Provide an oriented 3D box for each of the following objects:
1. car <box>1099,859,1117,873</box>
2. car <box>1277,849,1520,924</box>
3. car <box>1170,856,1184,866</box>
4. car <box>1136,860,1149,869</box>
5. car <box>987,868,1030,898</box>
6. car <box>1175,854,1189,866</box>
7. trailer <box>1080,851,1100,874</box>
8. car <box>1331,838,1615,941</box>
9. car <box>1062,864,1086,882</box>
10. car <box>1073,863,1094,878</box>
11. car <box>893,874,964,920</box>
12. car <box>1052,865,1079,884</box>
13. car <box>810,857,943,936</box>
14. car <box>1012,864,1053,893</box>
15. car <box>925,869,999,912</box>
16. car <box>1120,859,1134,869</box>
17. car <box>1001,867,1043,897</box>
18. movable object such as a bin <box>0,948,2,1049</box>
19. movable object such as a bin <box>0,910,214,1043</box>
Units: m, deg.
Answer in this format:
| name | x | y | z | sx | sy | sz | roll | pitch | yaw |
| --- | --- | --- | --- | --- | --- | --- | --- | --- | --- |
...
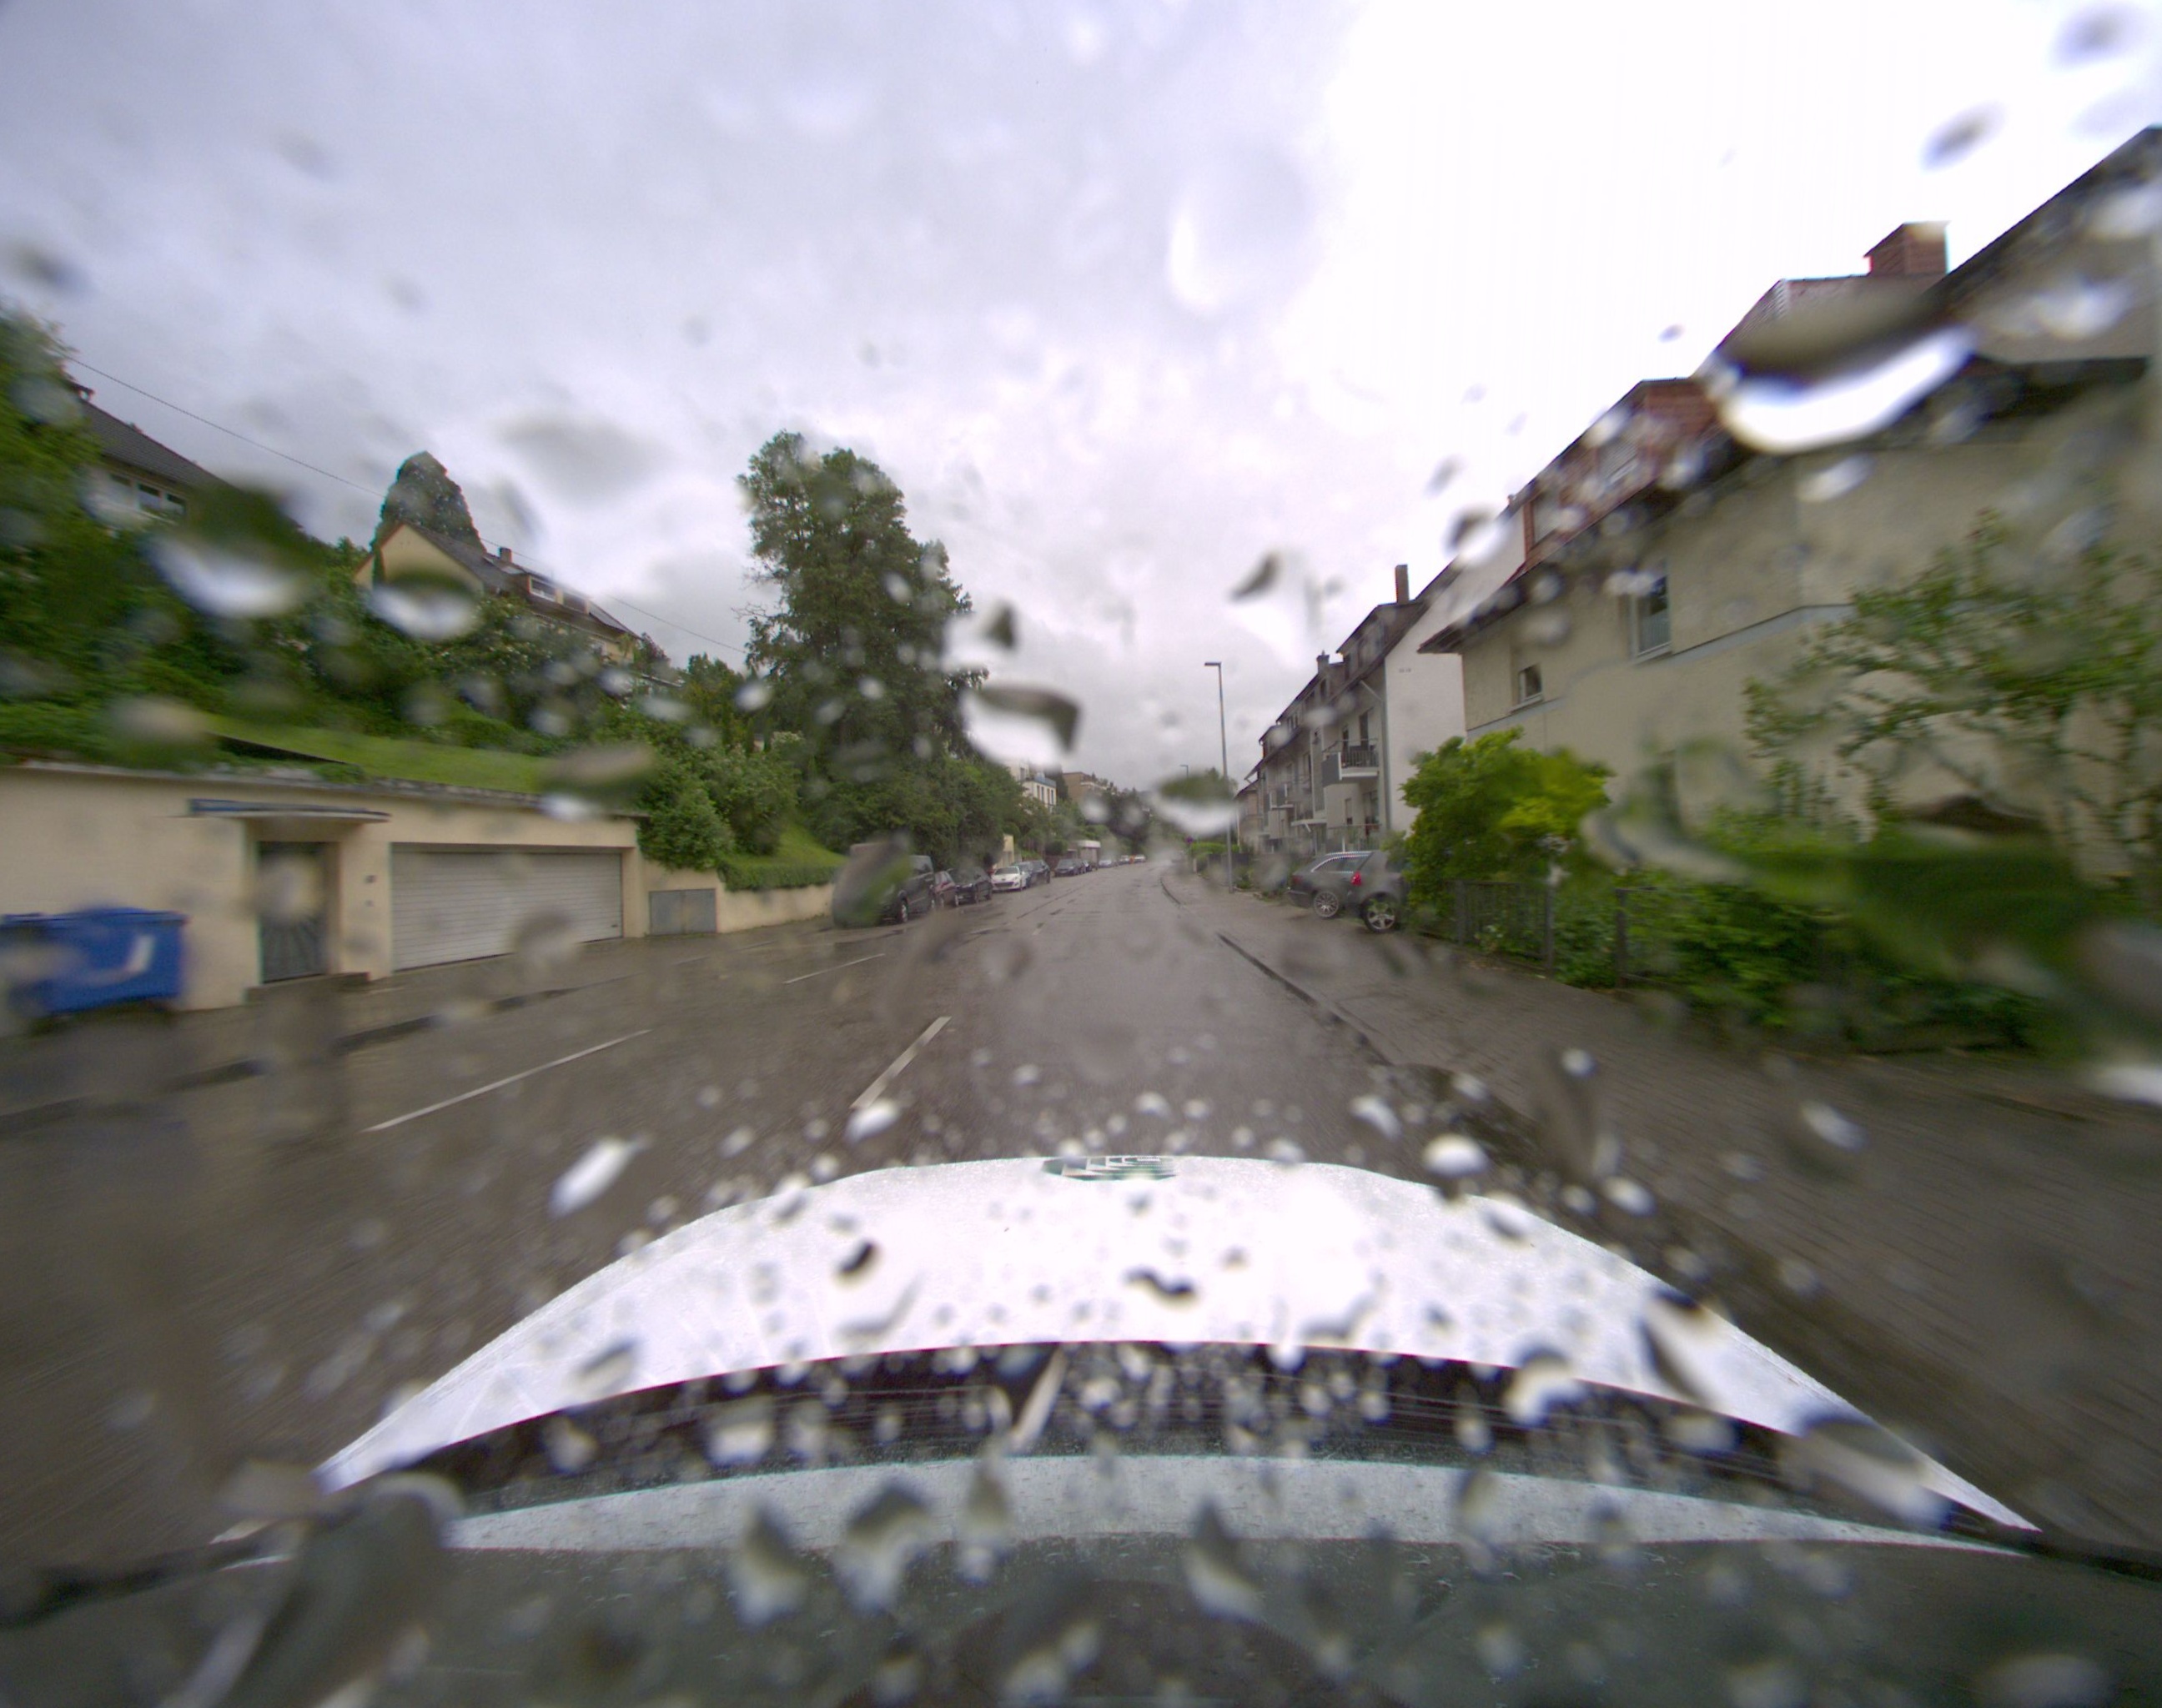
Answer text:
| name | x | y | z | sx | sy | sz | roll | pitch | yaw |
| --- | --- | --- | --- | --- | --- | --- | --- | --- | --- |
| car | 3.546 | 1.526 | 105.980 | 1.746 | 1.539 | 3.765 | -6 | 0 | 8 |
| car | 6.571 | 0.696 | 17.061 | 4.325 | 1.364 | 1.932 | -3 | -2 | 36 |
| car | 15.154 | 1.072 | 128.110 | 1.777 | 1.460 | 4.322 | -3 | -1 | 12 |
| car | 11.146 | 1.922 | 147.646 | 1.745 | 1.498 | 4.231 | -5 | -1 | 9 |
| car | -4.041 | 1.617 | 46.003 | 1.709 | 1.365 | 4.086 | -6 | 0 | 3 |
| car | 16.523 | 0.988 | 133.371 | 1.773 | 1.790 | 4.375 | -3 | -1 | 12 |
| trailer | 1.015 | 0.967 | 91.941 | 1.527 | 2.399 | 3.081 | -6 | -1 | 10 |
| car | 6.480 | 0.591 | 13.615 | 3.948 | 1.457 | 1.783 | -3 | 0 | 36 |
| car | -0.659 | 1.850 | 79.633 | 1.776 | 1.415 | 4.225 | -5 | 0 | 7 |
| car | 0.293 | 1.725 | 86.449 | 1.799 | 1.349 | 3.783 | -5 | 0 | 7 |
| car | -5.503 | 1.520 | 29.789 | 1.558 | 1.364 | 3.910 | -5 | -1 | 3 |
| car | -1.395 | 1.834 | 73.753 | 1.777 | 1.454 | 4.762 | -6 | 0 | 5 |
| car | -5.880 | 1.148 | 24.243 | 2.149 | 1.919 | 5.329 | -4 | -1 | 4 |
| car | -3.269 | 1.631 | 55.842 | 1.865 | 1.625 | 4.601 | -6 | 0 | 6 |
| car | -4.949 | 1.487 | 34.646 | 1.899 | 1.480 | 4.762 | -6 | -1 | 5 |
| car | 7.291 | 1.599 | 128.799 | 1.746 | 1.402 | 3.779 | -6 | -1 | 8 |
| car | -3.631 | 1.685 | 50.885 | 1.733 | 1.561 | 4.117 | -6 | -1 | 6 |
| movable object such as a bin | -11.577 | 1.510 | 8.164 | 0.732 | 1.042 | 0.608 | -2 | -1 | 6 |
| movable object such as a bin | -11.356 | 1.378 | 9.530 | 0.816 | 1.314 | 1.404 | -3 | 0 | 6 |
